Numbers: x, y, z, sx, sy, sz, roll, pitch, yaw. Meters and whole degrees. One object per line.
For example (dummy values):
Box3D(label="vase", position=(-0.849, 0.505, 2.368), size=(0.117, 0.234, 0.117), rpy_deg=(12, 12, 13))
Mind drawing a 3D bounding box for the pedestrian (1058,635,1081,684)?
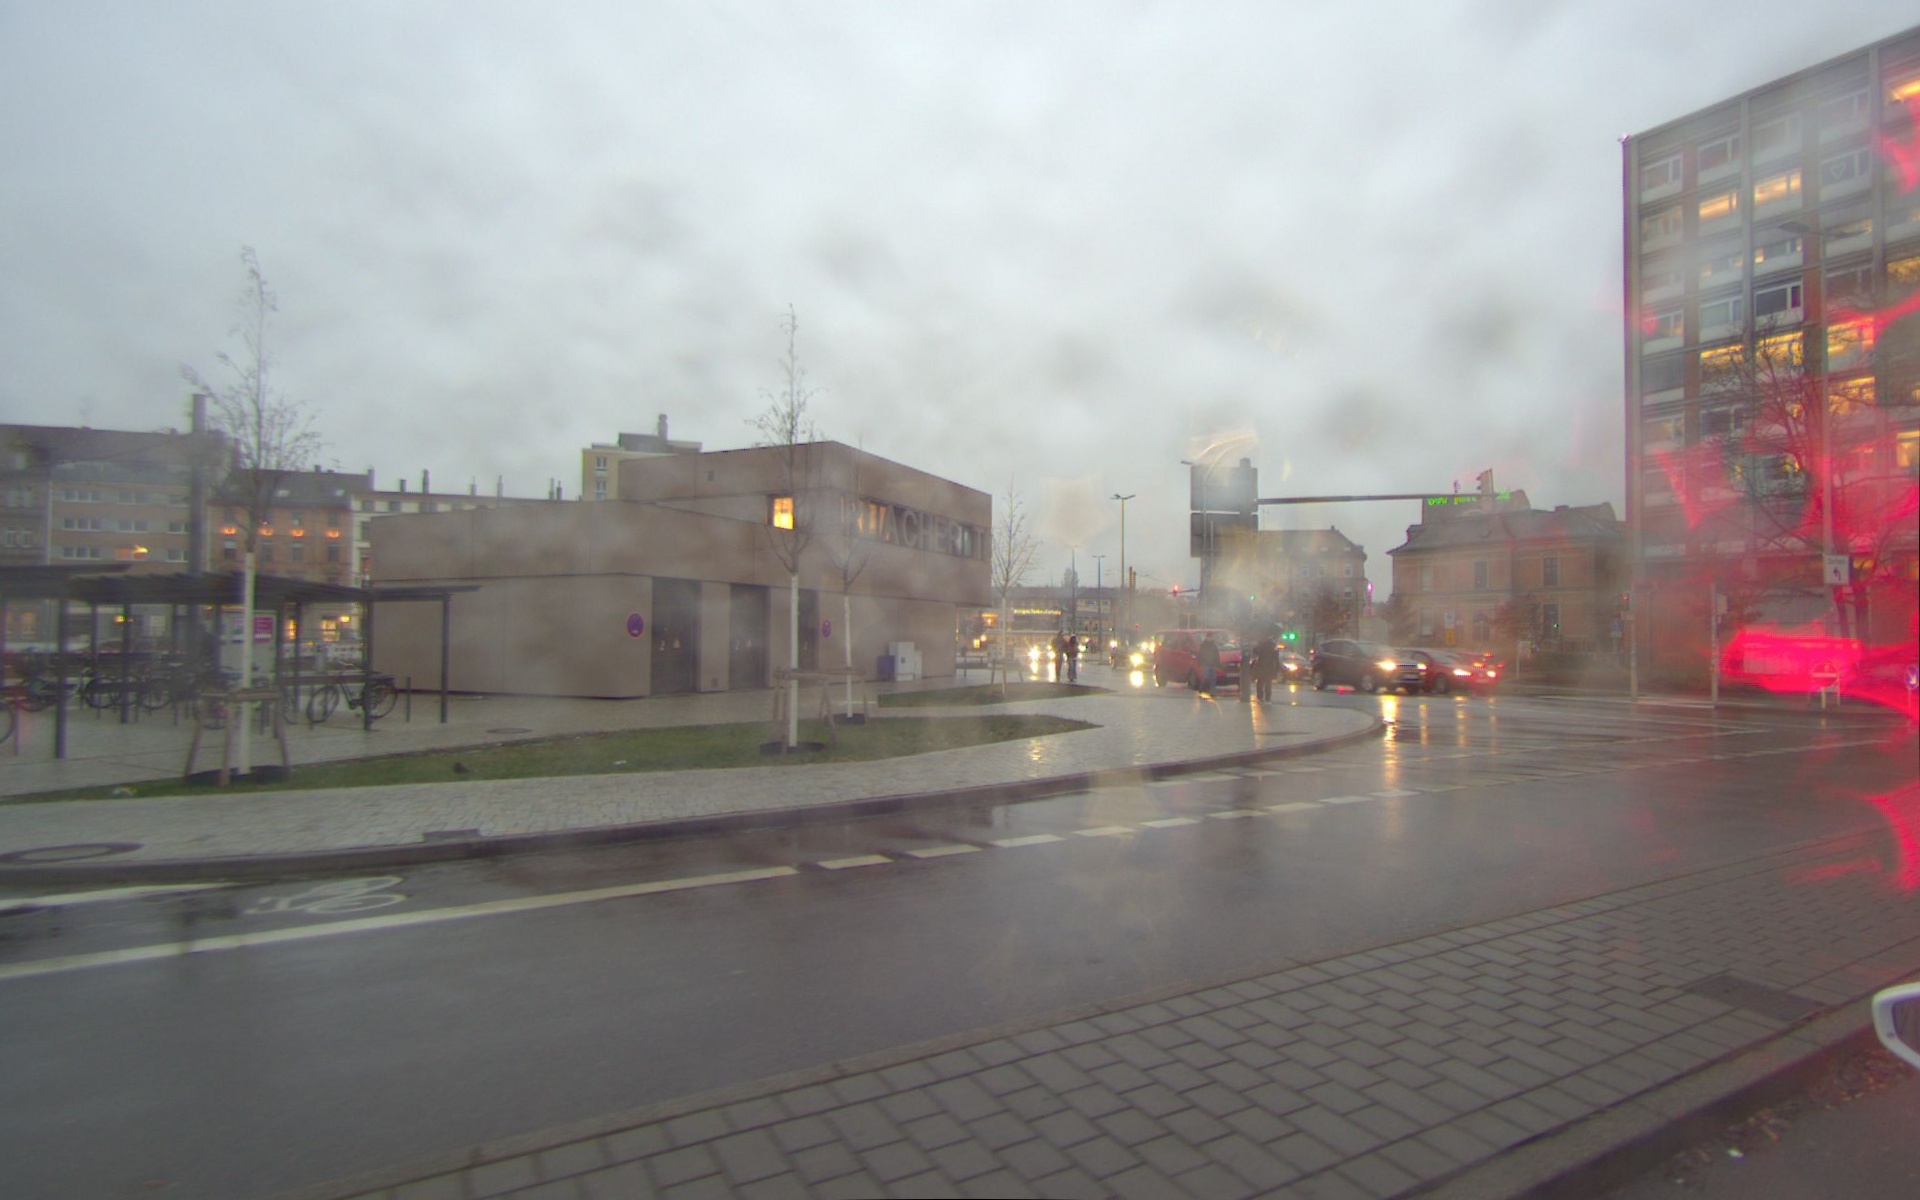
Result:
Box3D(label="pedestrian", position=(4.058, 2.199, 37.312), size=(0.576, 1.795, 0.610), rpy_deg=(3, -1, -16))

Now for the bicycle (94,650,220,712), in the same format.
Box3D(label="bicycle", position=(-16.400, 1.637, 20.565), size=(0.541, 1.180, 1.895), rpy_deg=(2, -2, 30))

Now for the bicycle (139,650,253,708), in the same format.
Box3D(label="bicycle", position=(-16.832, 1.721, 22.178), size=(0.541, 1.180, 1.895), rpy_deg=(2, -2, 30))

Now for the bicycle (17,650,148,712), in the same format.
Box3D(label="bicycle", position=(-17.847, 1.622, 20.488), size=(0.541, 1.180, 1.895), rpy_deg=(2, -2, 30))

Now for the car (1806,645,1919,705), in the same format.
Box3D(label="car", position=(27.750, 2.209, 29.232), size=(1.936, 1.601, 4.433), rpy_deg=(3, -1, -16))

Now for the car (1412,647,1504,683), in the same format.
Box3D(label="car", position=(22.495, 2.925, 45.518), size=(1.540, 1.416, 3.788), rpy_deg=(3, -1, -17))

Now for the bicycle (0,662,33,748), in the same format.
Box3D(label="bicycle", position=(-13.976, 1.450, 13.662), size=(0.541, 1.180, 1.895), rpy_deg=(2, -2, 30))

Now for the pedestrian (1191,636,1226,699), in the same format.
Box3D(label="pedestrian", position=(7.032, 1.900, 28.430), size=(0.781, 1.719, 0.461), rpy_deg=(3, -1, -7))

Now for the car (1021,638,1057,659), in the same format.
Box3D(label="car", position=(6.145, 3.755, 78.276), size=(1.578, 1.468, 3.637), rpy_deg=(3, -1, -16))

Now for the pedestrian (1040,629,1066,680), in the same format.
Box3D(label="pedestrian", position=(3.443, 2.027, 37.209), size=(0.670, 1.839, 0.692), rpy_deg=(3, -1, -16))

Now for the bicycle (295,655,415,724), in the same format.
Box3D(label="bicycle", position=(-11.329, 1.650, 18.892), size=(0.540, 1.180, 1.897), rpy_deg=(2, -2, 27))

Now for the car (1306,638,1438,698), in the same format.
Box3D(label="car", position=(13.298, 2.161, 32.699), size=(1.732, 1.706, 4.063), rpy_deg=(3, -1, -18))

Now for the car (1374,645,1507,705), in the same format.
Box3D(label="car", position=(16.040, 2.462, 33.755), size=(1.731, 1.706, 4.069), rpy_deg=(3, -1, -16))

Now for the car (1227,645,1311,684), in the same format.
Box3D(label="car", position=(13.269, 2.746, 43.397), size=(1.578, 1.468, 3.827), rpy_deg=(3, -1, -16))

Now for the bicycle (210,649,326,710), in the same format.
Box3D(label="bicycle", position=(-14.327, 1.622, 20.859), size=(0.541, 1.180, 1.895), rpy_deg=(2, -2, 30))

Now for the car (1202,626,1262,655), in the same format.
Box3D(label="car", position=(19.962, 2.967, 74.010), size=(1.966, 1.938, 5.157), rpy_deg=(1, -1, -14))

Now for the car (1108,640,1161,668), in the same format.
Box3D(label="car", position=(10.374, 3.199, 59.833), size=(1.579, 1.466, 3.636), rpy_deg=(3, -1, -17))

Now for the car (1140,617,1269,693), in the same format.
Box3D(label="car", position=(8.234, 1.804, 34.399), size=(2.220, 2.311, 5.025), rpy_deg=(3, -1, -13))

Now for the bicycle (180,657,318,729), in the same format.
Box3D(label="bicycle", position=(-12.546, 1.615, 17.788), size=(0.541, 1.180, 1.895), rpy_deg=(2, -2, 30))
